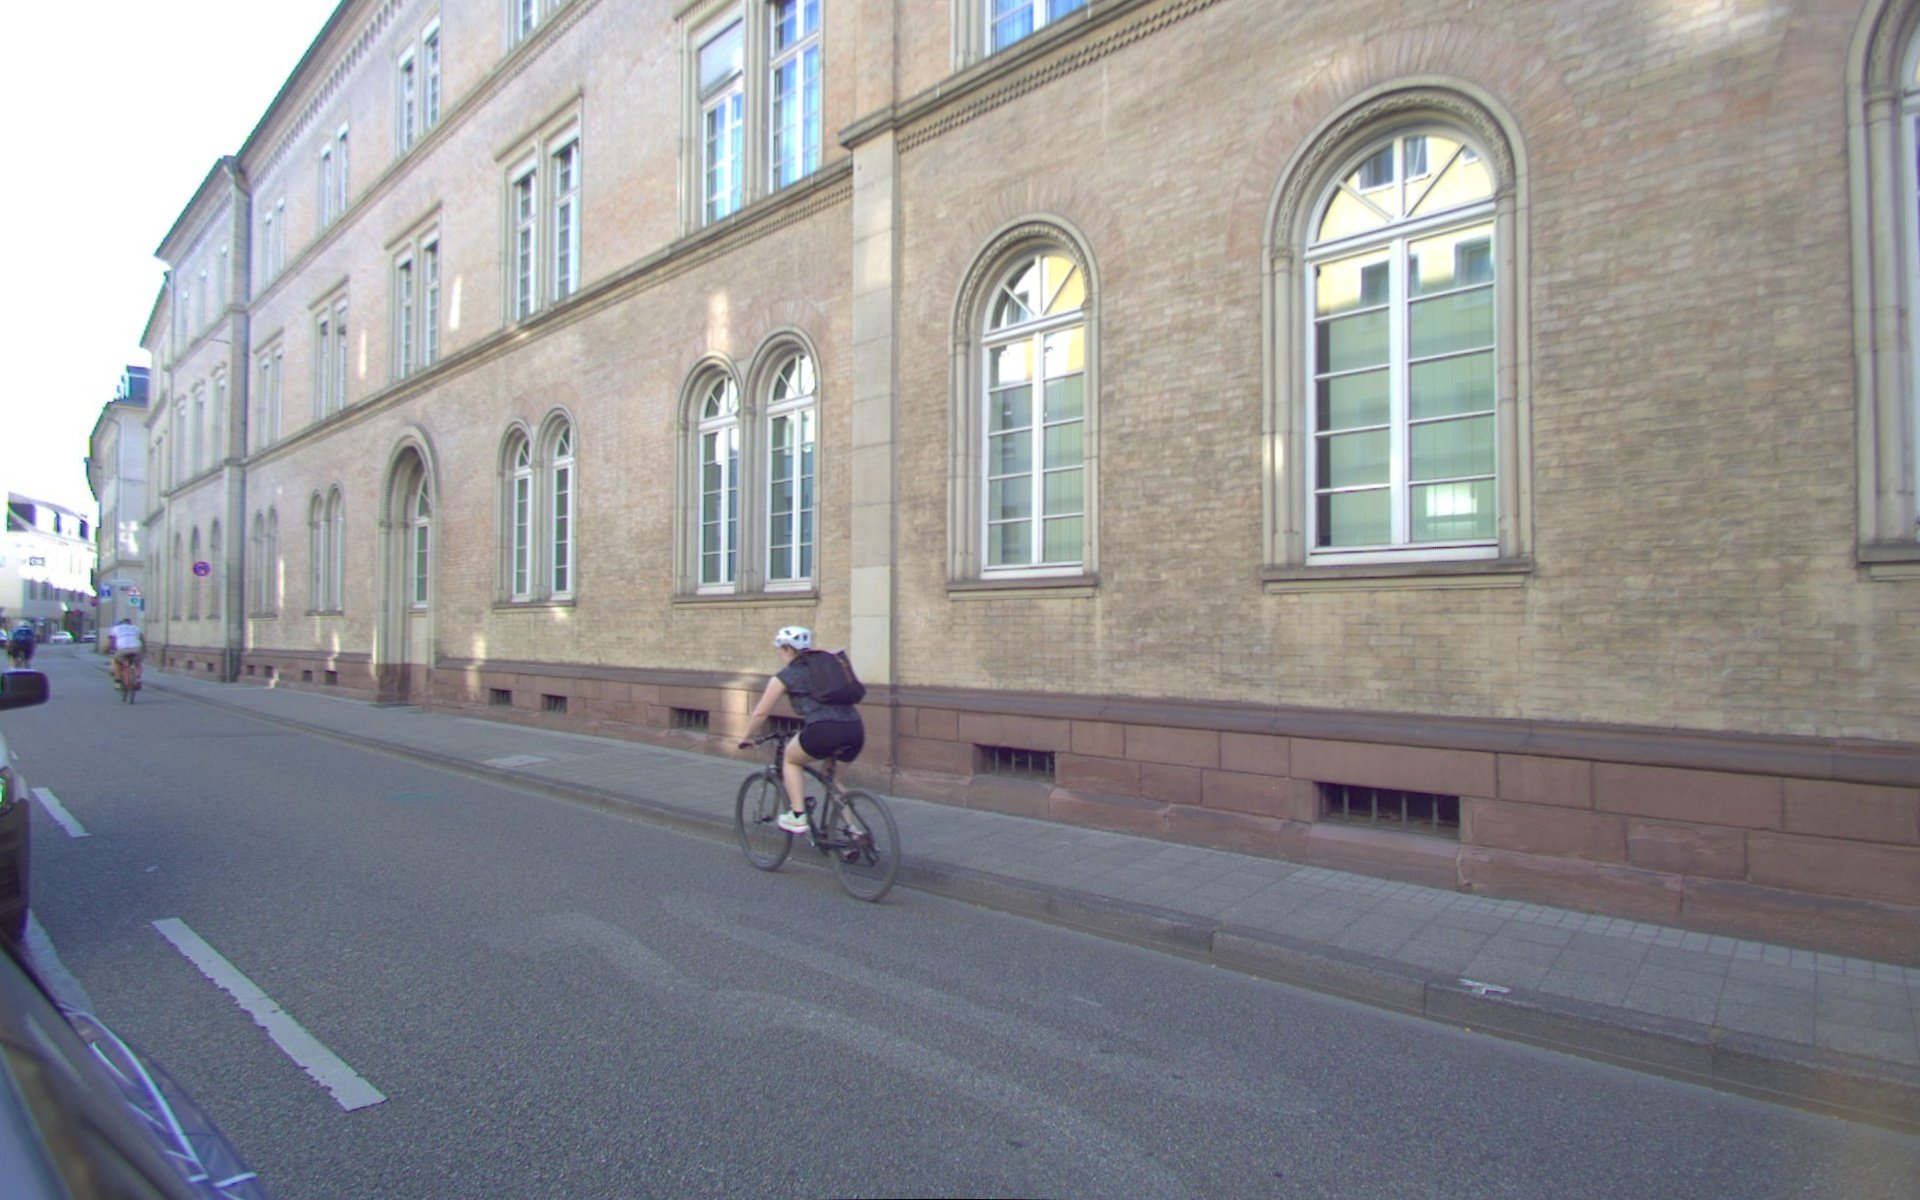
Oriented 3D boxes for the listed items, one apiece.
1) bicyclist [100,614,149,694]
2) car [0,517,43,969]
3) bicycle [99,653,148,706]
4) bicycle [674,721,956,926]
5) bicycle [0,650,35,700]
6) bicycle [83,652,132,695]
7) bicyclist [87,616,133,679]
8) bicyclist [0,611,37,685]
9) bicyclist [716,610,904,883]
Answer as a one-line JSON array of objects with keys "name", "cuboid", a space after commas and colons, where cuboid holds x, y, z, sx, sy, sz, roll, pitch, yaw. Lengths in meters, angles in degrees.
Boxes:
[{"name": "bicyclist", "cuboid": [-17.112, 1.110, 20.732, 0.642, 1.579, 0.962, 5, -5, -42]}, {"name": "car", "cuboid": [-6.452, 0.626, 5.320, 5.338, 1.850, 1.795, -2, -3, 41]}, {"name": "bicycle", "cuboid": [-17.174, 1.619, 20.768, 0.642, 1.014, 1.808, 5, -5, -42]}, {"name": "bicycle", "cuboid": [-0.916, 1.259, 6.094, 1.765, 0.931, 0.678, -2, -5, 41]}, {"name": "bicycle", "cuboid": [-20.051, 1.572, 21.469, 0.538, 1.014, 1.758, 5, -5, -43]}, {"name": "bicycle", "cuboid": [-21.201, 1.810, 25.159, 1.875, 1.014, 0.643, -2, -5, 42]}, {"name": "bicyclist", "cuboid": [-21.187, 1.181, 25.211, 1.111, 1.520, 0.643, -2, -5, 42]}, {"name": "bicyclist", "cuboid": [-20.202, 1.040, 21.670, 0.538, 1.545, 0.870, 5, -5, -43]}, {"name": "bicyclist", "cuboid": [-0.902, 0.829, 6.091, 0.871, 1.487, 0.678, -2, -5, 41]}]
